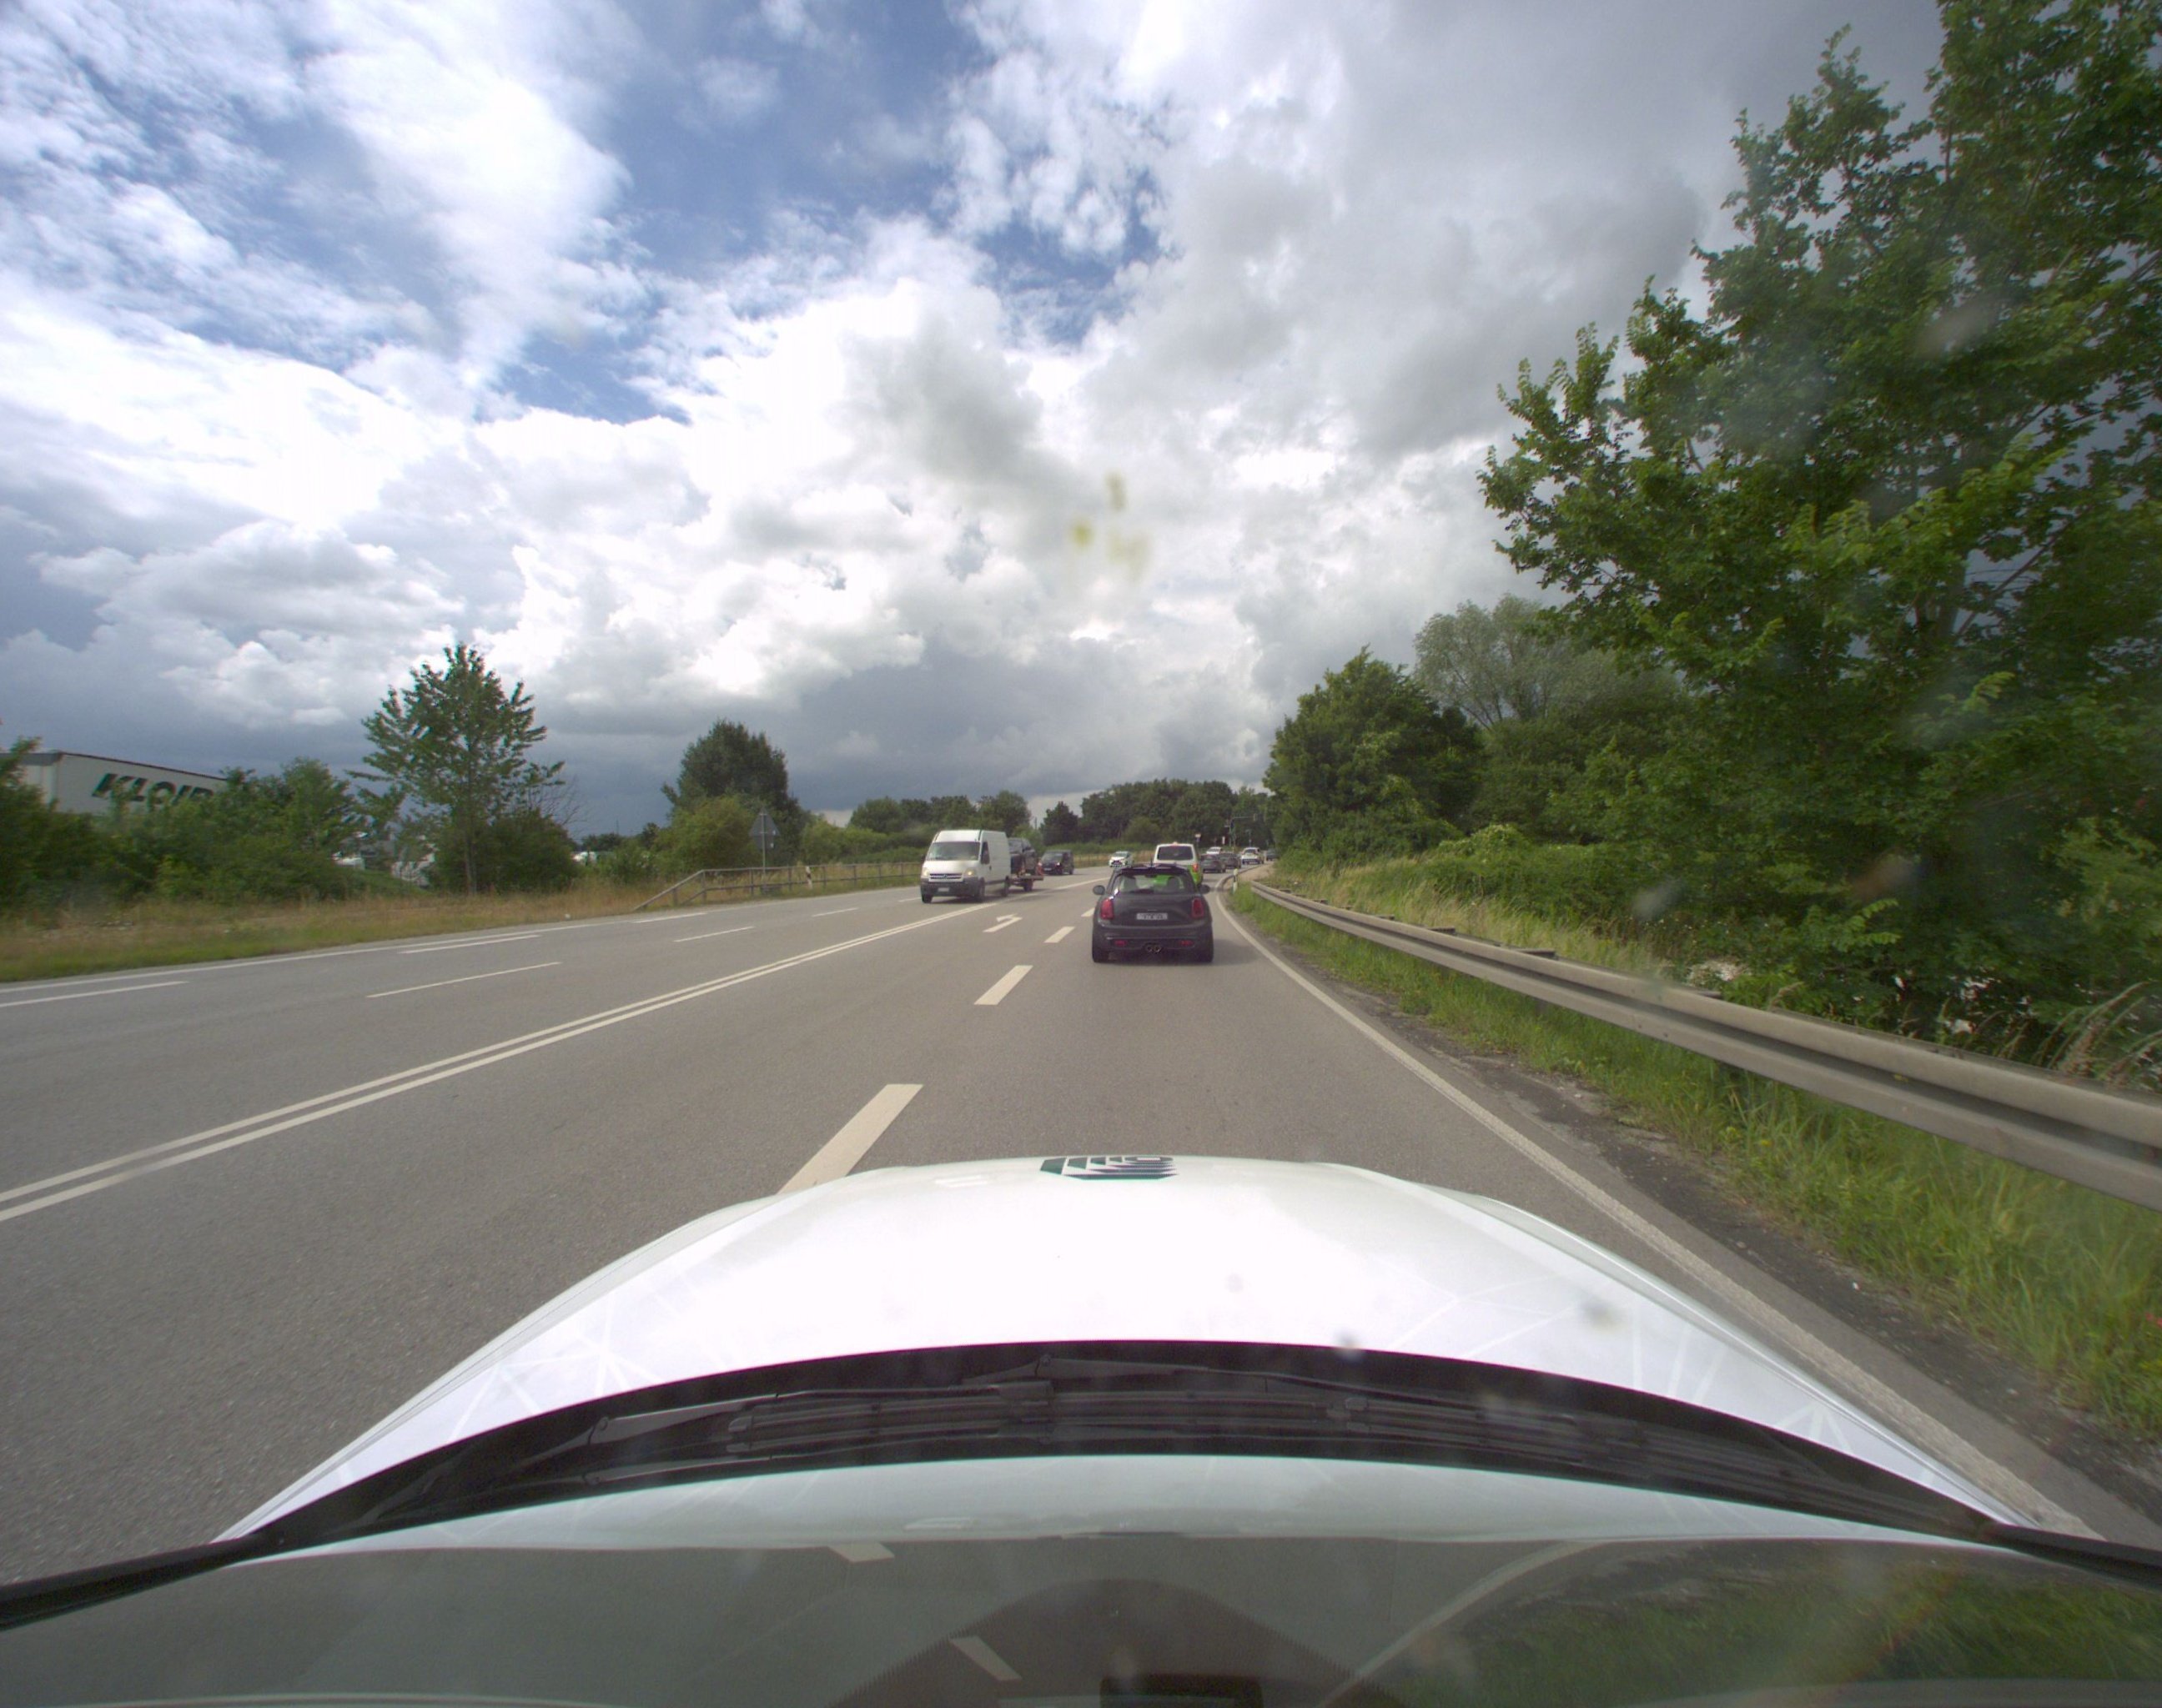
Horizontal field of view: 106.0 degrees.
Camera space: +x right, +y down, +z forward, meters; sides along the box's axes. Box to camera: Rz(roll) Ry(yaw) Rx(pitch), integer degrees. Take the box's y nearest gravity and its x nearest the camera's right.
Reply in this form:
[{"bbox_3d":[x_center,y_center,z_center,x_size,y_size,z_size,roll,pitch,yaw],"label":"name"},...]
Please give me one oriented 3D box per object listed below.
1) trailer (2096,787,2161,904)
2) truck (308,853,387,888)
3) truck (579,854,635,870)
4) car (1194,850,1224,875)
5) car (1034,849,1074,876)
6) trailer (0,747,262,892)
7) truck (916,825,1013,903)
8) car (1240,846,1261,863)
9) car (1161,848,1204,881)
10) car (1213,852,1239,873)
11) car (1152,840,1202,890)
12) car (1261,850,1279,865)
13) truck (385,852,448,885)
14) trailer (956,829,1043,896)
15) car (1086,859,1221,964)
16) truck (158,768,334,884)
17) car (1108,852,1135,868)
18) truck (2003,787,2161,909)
[{"bbox_3d":[49.792,-0.497,34.809,10.231,4.835,2.663,-2,0,-5],"label":"trailer"},{"bbox_3d":[-58.980,1.245,65.655,2.656,2.682,6.604,-1,0,-23],"label":"truck"},{"bbox_3d":[-60.084,1.026,103.362,1.977,2.014,6.261,0,-1,20],"label":"truck"},{"bbox_3d":[9.395,0.619,59.710,1.980,1.684,4.013,1,0,12],"label":"car"},{"bbox_3d":[-1.852,0.568,57.282,1.982,1.797,4.331,0,0,9],"label":"car"},{"bbox_3d":[-37.795,-1.195,32.454,2.800,4.996,8.947,0,0,-12],"label":"trailer"},{"bbox_3d":[-3.876,0.316,28.137,2.012,2.444,5.035,0,0,7],"label":"truck"},{"bbox_3d":[17.150,0.057,82.340,1.979,1.684,4.014,1,0,13],"label":"car"},{"bbox_3d":[5.357,0.542,42.686,1.981,1.684,4.011,0,-1,10],"label":"car"},{"bbox_3d":[12.437,0.728,69.750,1.979,1.684,3.992,1,0,13],"label":"car"},{"bbox_3d":[4.083,0.468,34.194,1.833,1.987,3.851,0,-1,10],"label":"car"},{"bbox_3d":[22.153,0.400,95.444,1.979,1.684,4.014,1,0,13],"label":"car"},{"bbox_3d":[-57.507,1.187,70.687,2.657,2.682,6.600,-1,0,-25],"label":"truck"},{"bbox_3d":[-3.170,0.312,33.421,2.012,2.444,6.981,0,0,8],"label":"trailer"},{"bbox_3d":[1.079,0.804,13.050,1.837,1.428,3.843,0,-1,3],"label":"car"},{"bbox_3d":[-39.049,-1.206,38.442,2.797,4.996,6.165,0,0,-12],"label":"truck"},{"bbox_3d":[3.858,0.554,77.426,1.863,1.489,3.757,0,0,14],"label":"car"},{"bbox_3d":[43.247,-0.285,34.282,6.132,4.786,2.663,-2,0,-5],"label":"truck"}]
